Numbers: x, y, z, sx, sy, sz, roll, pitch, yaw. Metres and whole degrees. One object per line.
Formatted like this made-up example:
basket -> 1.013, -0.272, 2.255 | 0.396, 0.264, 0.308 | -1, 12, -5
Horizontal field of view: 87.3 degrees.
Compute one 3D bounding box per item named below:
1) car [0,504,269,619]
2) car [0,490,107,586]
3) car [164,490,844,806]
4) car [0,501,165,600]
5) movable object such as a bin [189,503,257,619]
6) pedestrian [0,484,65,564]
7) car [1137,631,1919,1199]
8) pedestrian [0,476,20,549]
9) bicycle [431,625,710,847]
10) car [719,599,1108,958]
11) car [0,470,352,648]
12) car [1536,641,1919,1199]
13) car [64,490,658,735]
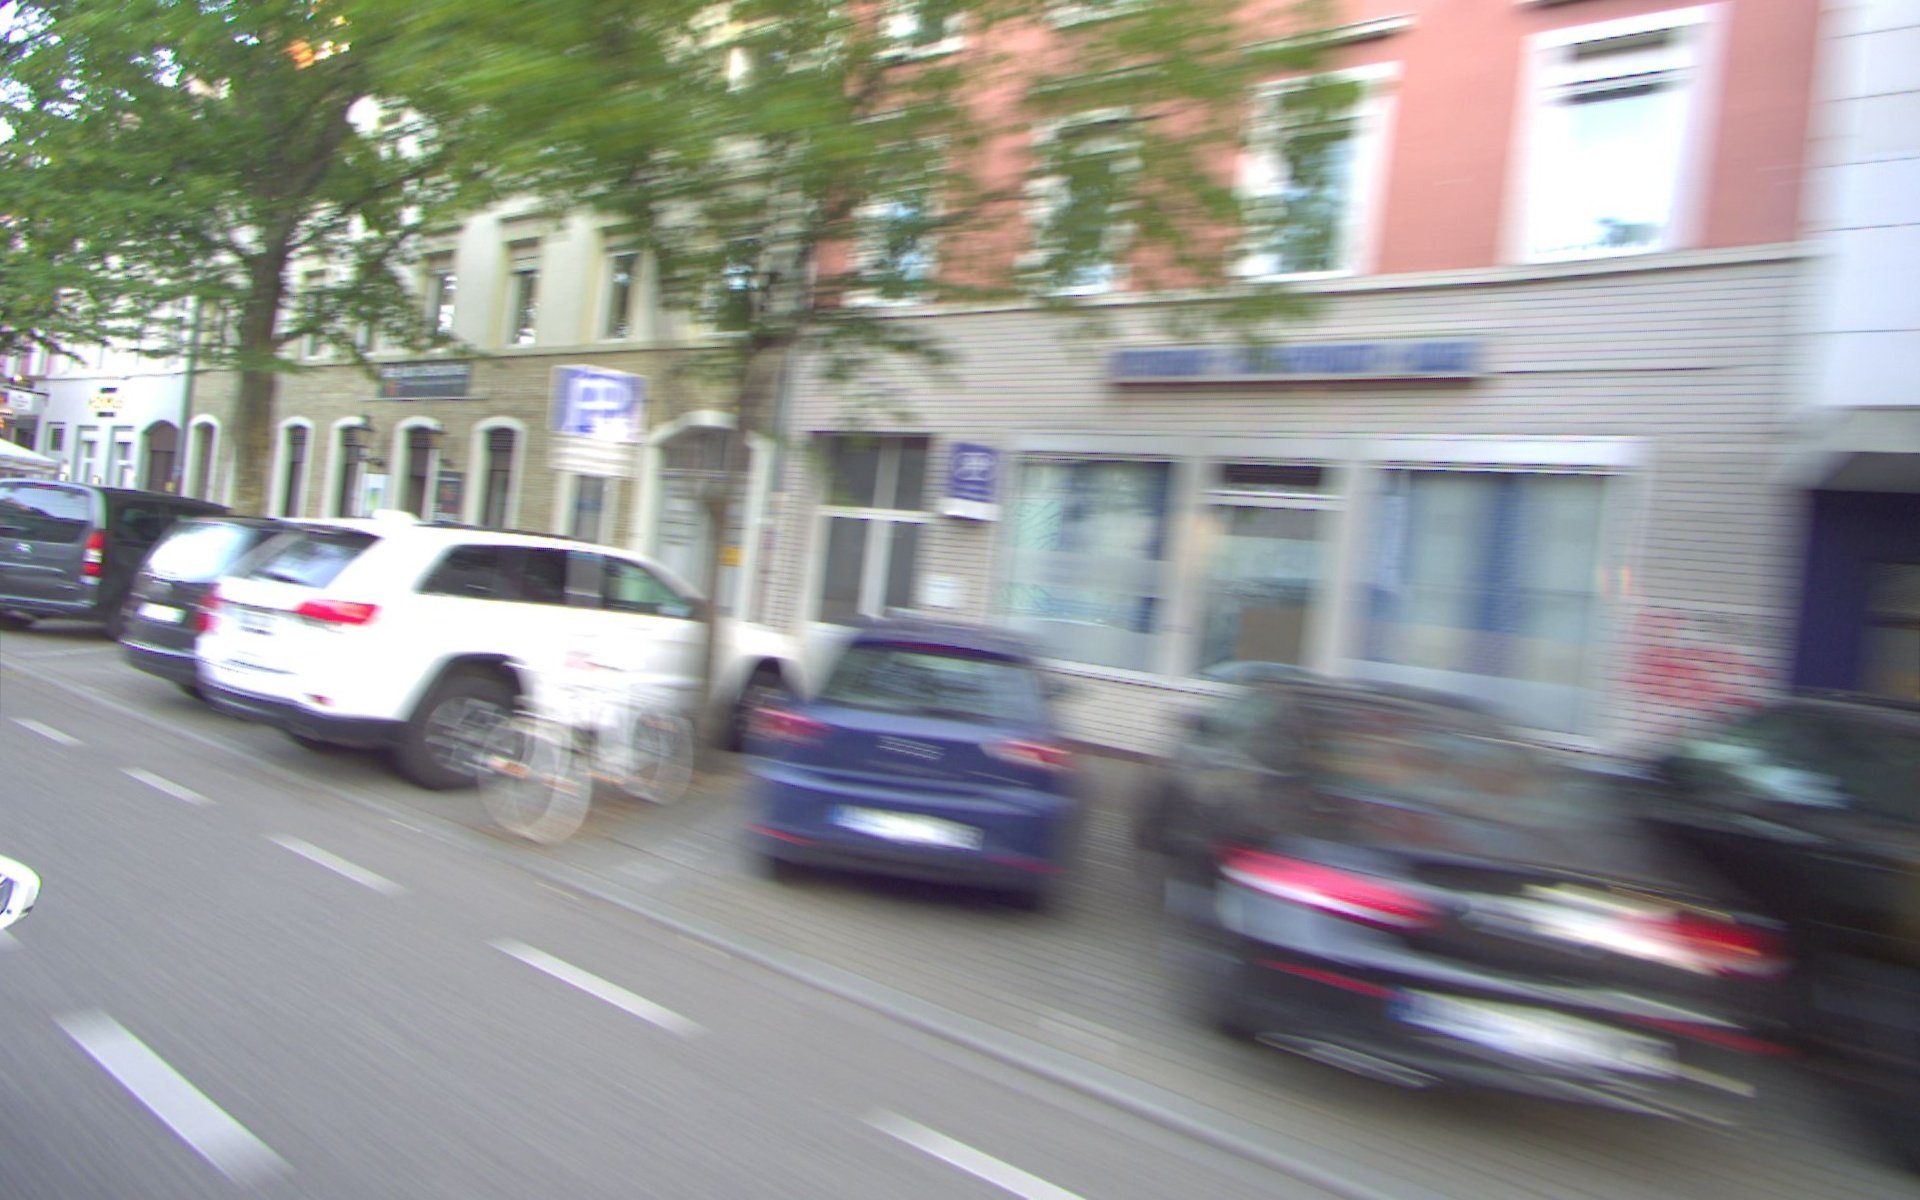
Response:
car -> -12.690, -0.560, 14.712 | 1.772, 1.407, 4.323 | 6, 1, 7
car -> -17.070, -1.164, 16.917 | 1.673, 1.573, 3.975 | 6, 0, 7
car -> -3.226, 0.321, 8.192 | 1.974, 1.710, 4.652 | 7, 1, 31
car -> -14.961, -0.819, 15.739 | 1.673, 1.425, 3.785 | 6, 0, 7
movable object such as a bin -> -13.726, -0.717, 18.734 | 0.684, 2.038, 0.614 | 7, 0, 31
pedestrian -> -22.664, -1.846, 24.591 | 0.701, 1.784, 0.705 | 7, -1, 5
car -> 2.028, 1.069, 5.070 | 1.938, 1.445, 4.224 | 6, 2, 8
pedestrian -> -24.558, -2.256, 25.533 | 0.837, 1.784, 0.553 | 7, -1, 20
bicycle -> -2.343, 0.755, 6.327 | 0.488, 1.117, 1.840 | 7, 2, 18
car -> -0.093, 0.826, 6.572 | 1.694, 1.445, 3.757 | 6, 1, 4
car -> -10.311, -0.492, 13.055 | 1.970, 1.829, 4.160 | 6, 0, 4
car -> 4.404, 1.198, 4.495 | 1.938, 1.670, 4.224 | 6, 1, 14
car -> -5.471, 0.129, 9.984 | 1.972, 1.710, 4.656 | 7, 1, 27
